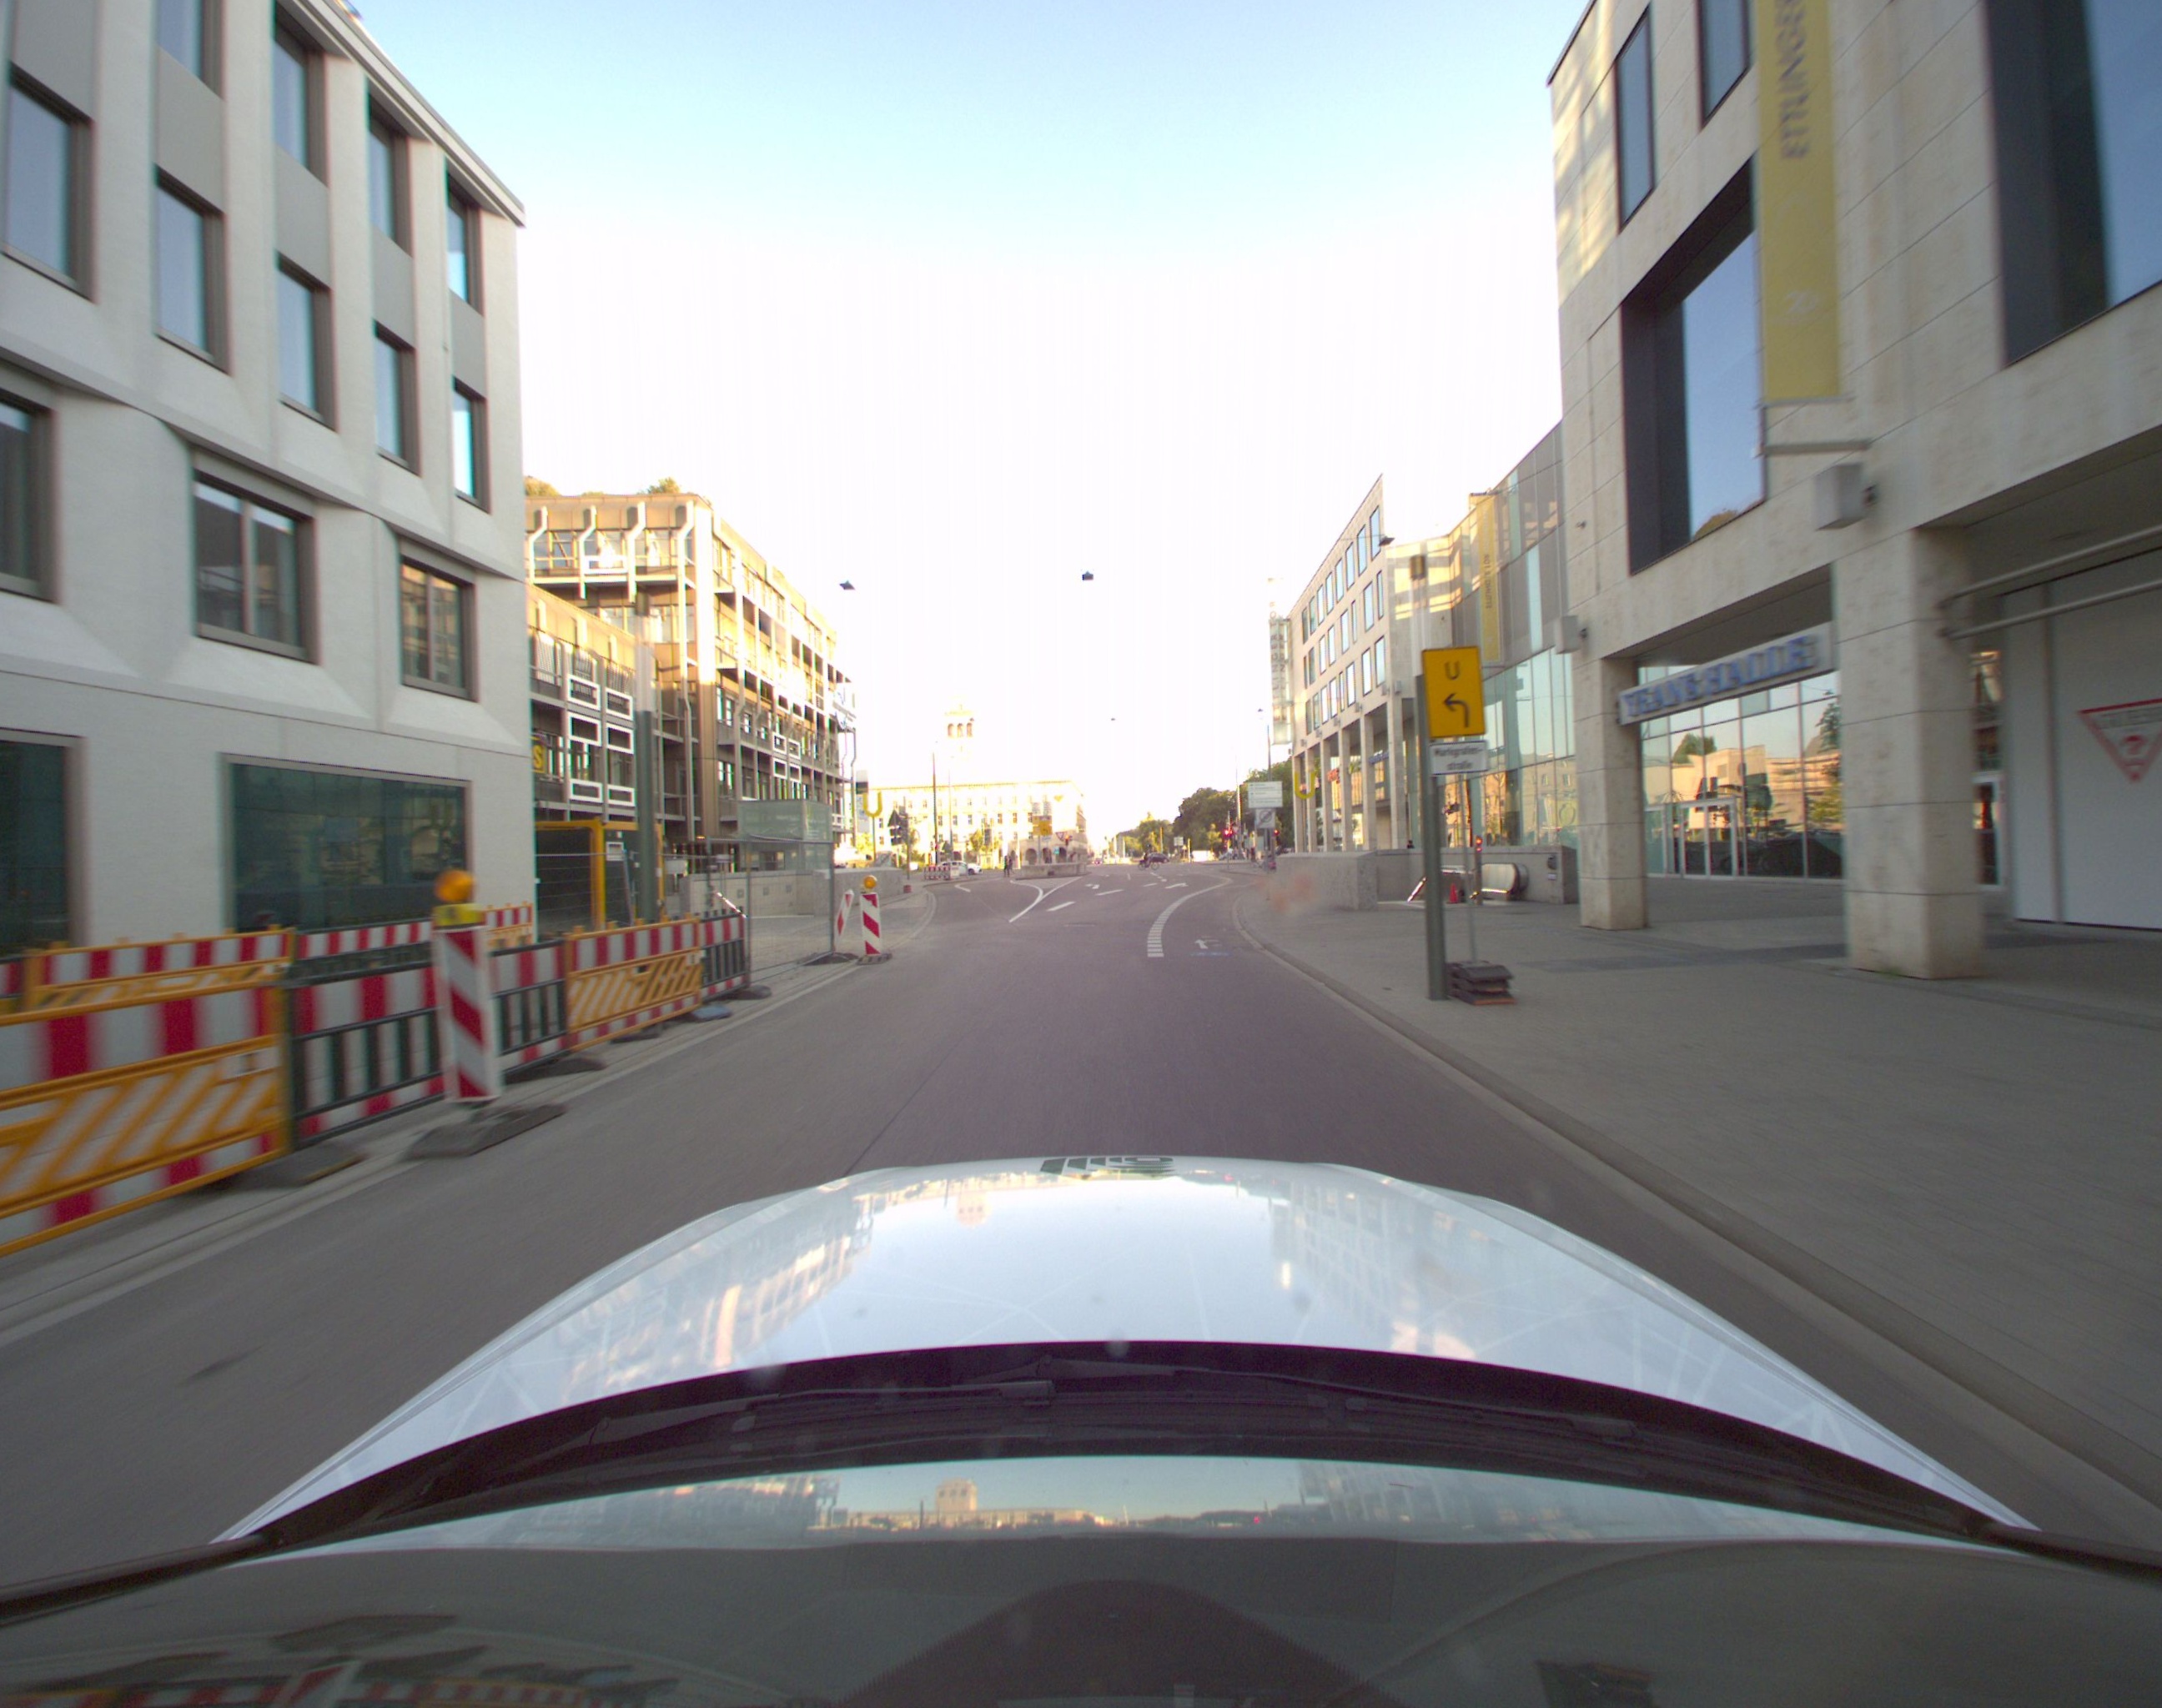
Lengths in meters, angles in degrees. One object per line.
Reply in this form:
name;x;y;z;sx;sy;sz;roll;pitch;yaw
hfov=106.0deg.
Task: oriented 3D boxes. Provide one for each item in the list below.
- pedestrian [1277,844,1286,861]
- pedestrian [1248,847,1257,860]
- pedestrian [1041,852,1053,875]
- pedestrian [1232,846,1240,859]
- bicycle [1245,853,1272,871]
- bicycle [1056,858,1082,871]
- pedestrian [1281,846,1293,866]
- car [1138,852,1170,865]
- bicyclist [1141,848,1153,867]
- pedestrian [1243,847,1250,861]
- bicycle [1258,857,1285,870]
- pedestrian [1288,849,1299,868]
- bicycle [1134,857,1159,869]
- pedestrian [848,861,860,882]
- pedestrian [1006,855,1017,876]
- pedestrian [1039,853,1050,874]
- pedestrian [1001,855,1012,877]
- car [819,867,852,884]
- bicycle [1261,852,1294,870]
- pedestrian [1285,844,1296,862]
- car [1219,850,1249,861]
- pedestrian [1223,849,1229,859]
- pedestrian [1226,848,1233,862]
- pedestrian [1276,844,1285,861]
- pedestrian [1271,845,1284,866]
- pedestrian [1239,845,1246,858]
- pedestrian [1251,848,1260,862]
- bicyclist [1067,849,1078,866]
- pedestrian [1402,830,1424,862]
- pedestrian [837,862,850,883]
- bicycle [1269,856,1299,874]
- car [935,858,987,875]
pedestrian;20.561;-0.136;83.606;0.688;1.730;0.742;-2;0;5
pedestrian;21.934;-0.072;104.080;0.811;1.730;0.683;-2;-1;-19
pedestrian;-2.772;0.782;66.620;0.738;1.777;0.860;-3;-1;-11
pedestrian;19.818;-0.191;104.173;0.805;1.730;0.688;-2;0;1
bicycle;13.059;0.577;59.852;1.803;1.212;0.573;-2;-1;18
bicycle;-1.093;0.972;74.962;2.232;1.062;0.654;-2;0;4
pedestrian;18.643;0.208;73.628;0.753;1.777;0.741;-5;-1;4
car;9.909;0.621;110.782;3.983;1.494;1.824;-2;0;-7
bicyclist;6.050;0.316;74.809;1.015;1.621;0.654;-2;0;3
pedestrian;21.164;-0.003;104.070;0.802;1.730;0.691;-2;0;15
bicycle;13.901;0.687;59.423;1.860;0.936;0.516;-2;-1;1
pedestrian;19.946;0.428;76.479;0.888;1.730;0.689;-2;0;5
bicycle;5.997;0.826;74.807;2.232;1.062;0.654;-2;0;3
pedestrian;-20.324;1.557;72.878;0.743;1.777;0.855;-4;-1;-28
pedestrian;-6.055;0.984;70.951;0.736;1.777;0.863;-5;-1;0
pedestrian;-3.044;0.788;67.623;0.739;1.777;0.859;-1;0;-14
pedestrian;-6.425;1.013;70.126;0.736;1.777;0.863;-5;-1;0
car;-26.103;2.240;86.657;3.132;1.685;1.606;-2;0;-11
bicycle;12.067;0.444;50.067;1.887;1.048;0.572;-2;-1;7
pedestrian;20.199;-0.127;78.581;0.888;1.730;0.689;-2;0;6
car;21.007;0.201;111.991;3.706;1.453;1.544;-2;0;-4
pedestrian;25.471;0.054;142.986;0.805;1.730;0.929;-2;0;1
pedestrian;19.001;0.173;104.160;0.805;1.730;0.688;-2;0;1
pedestrian;21.057;-0.164;86.009;0.831;1.730;0.689;-2;0;7
pedestrian;17.796;0.143;73.673;0.857;1.777;0.741;-5;-1;4
pedestrian;20.874;-0.331;105.039;0.802;1.730;0.691;-2;0;15
pedestrian;22.456;0.128;104.910;0.689;1.730;0.804;-2;-1;-23
bicyclist;-0.817;0.351;74.949;0.875;1.531;0.654;-2;0;4
pedestrian;19.401;-0.462;47.610;0.857;1.777;0.991;-3;-1;2
pedestrian;-21.171;1.666;72.625;0.744;1.777;0.854;-4;-1;-34
bicycle;13.681;0.738;54.794;1.860;1.260;0.674;0;-1;1
car;-12.054;1.208;81.825;4.778;1.496;2.129;-2;0;2
